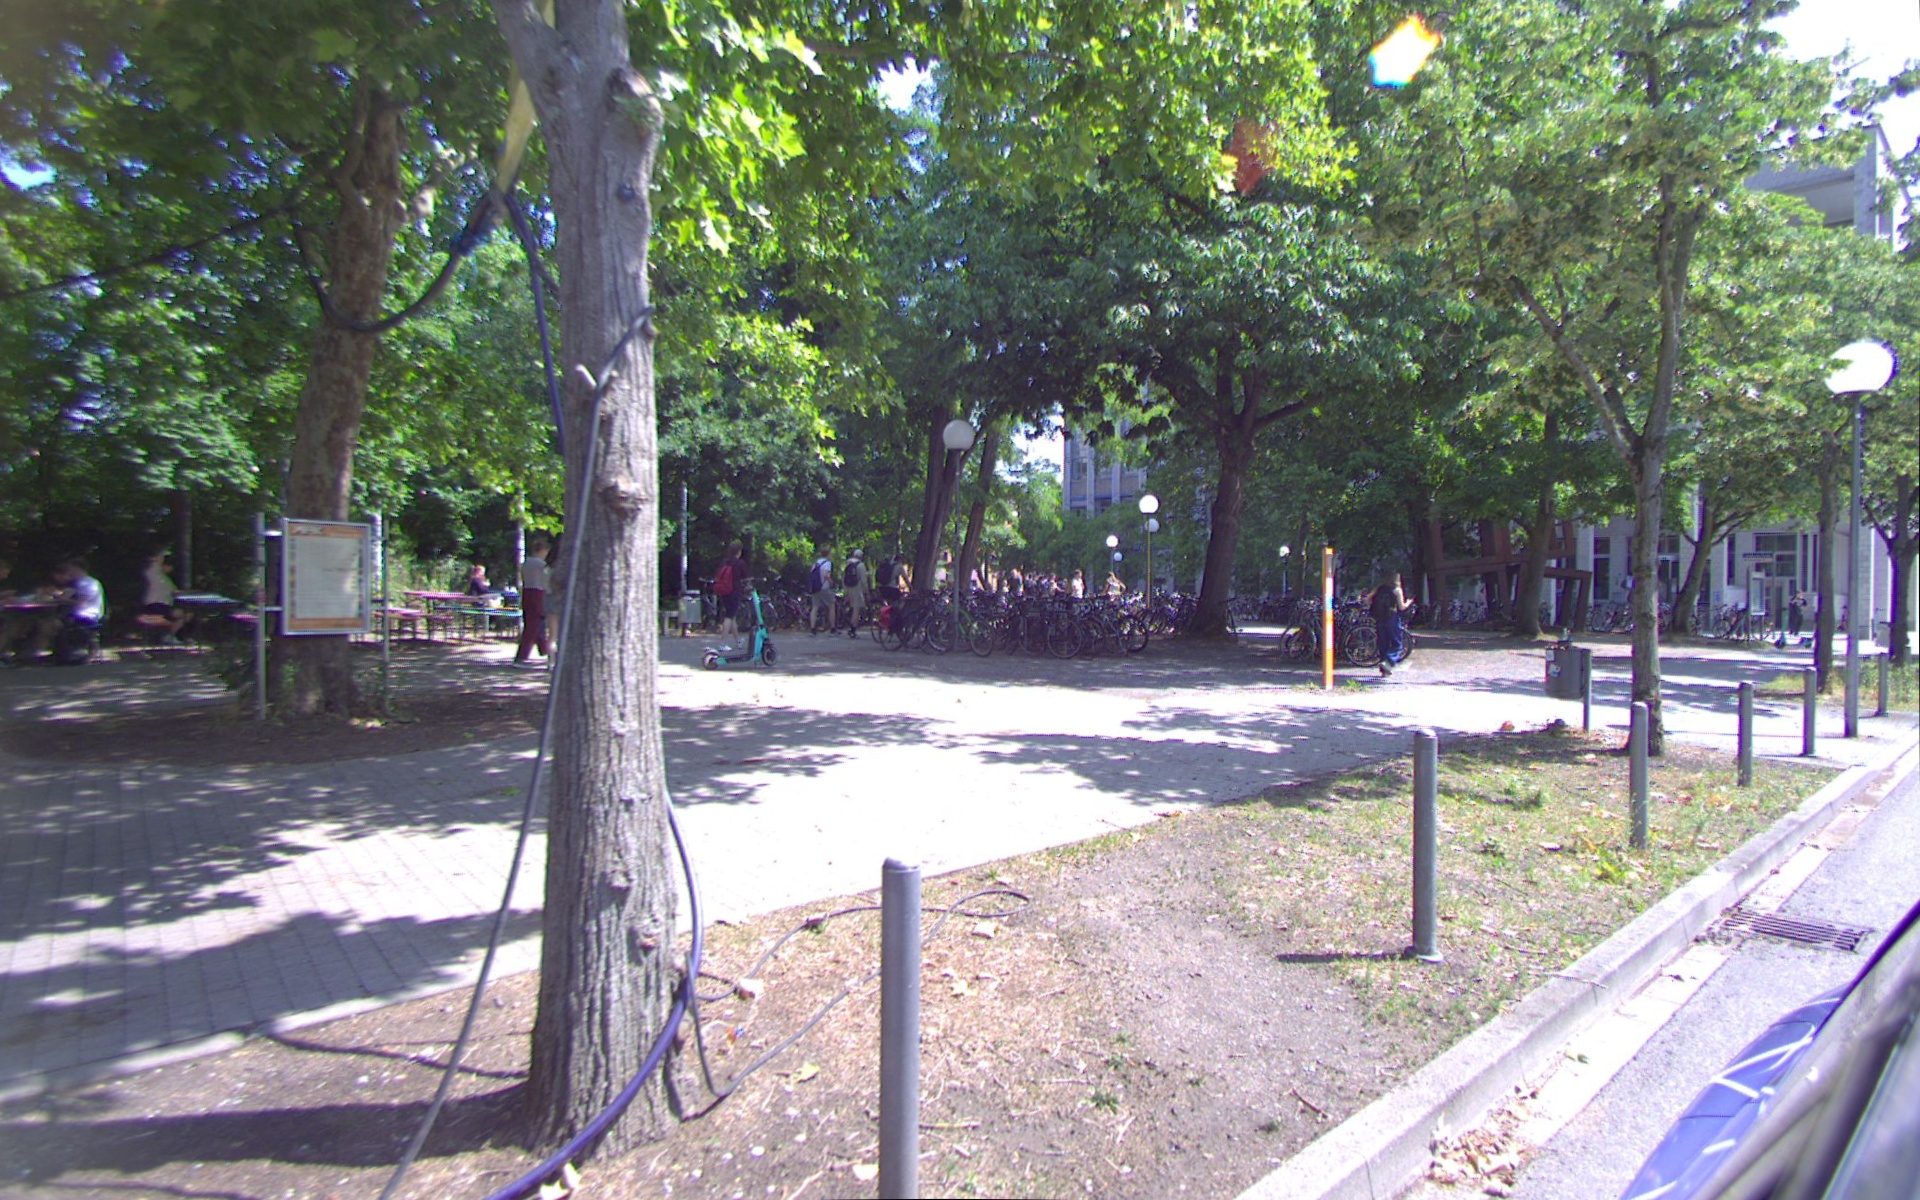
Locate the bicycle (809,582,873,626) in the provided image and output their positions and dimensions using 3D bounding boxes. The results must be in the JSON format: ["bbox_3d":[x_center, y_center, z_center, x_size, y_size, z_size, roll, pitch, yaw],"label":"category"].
[{"bbox_3d":[-3.053,0.091,25.890,1.737,1.052,0.344,2,1,28],"label":"bicycle"}]

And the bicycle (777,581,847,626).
[{"bbox_3d":[-3.710,0.077,25.289,1.815,1.052,0.474,2,1,28],"label":"bicycle"}]

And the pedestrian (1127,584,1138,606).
[{"bbox_3d":[9.637,-0.265,56.572,0.379,1.228,0.403,1,0,-33],"label":"pedestrian"}]

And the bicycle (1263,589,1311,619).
[{"bbox_3d":[13.394,0.158,41.505,1.812,1.185,0.345,1,0,5],"label":"bicycle"}]

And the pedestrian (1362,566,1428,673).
[{"bbox_3d":[6.684,0.280,15.545,0.911,1.591,0.569,-1,2,-41],"label":"pedestrian"}]

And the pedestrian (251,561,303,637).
[{"bbox_3d":[-12.126,-0.015,17.960,0.667,1.286,0.612,5,3,45],"label":"pedestrian"}]

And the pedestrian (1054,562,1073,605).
[{"bbox_3d":[4.363,-0.682,42.580,0.732,1.797,0.719,1,0,9],"label":"pedestrian"}]

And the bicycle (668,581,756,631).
[{"bbox_3d":[-5.287,0.111,21.533,1.944,0.991,0.606,2,2,30],"label":"bicycle"}]

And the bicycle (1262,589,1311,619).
[{"bbox_3d":[13.277,0.150,41.165,1.812,1.185,0.345,1,0,5],"label":"bicycle"}]

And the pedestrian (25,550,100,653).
[{"bbox_3d":[-12.418,0.020,14.005,0.570,1.363,0.717,5,3,44],"label":"pedestrian"}]

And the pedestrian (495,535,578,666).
[{"bbox_3d":[-5.665,-0.005,13.532,0.810,1.682,0.766,0,1,-41],"label":"pedestrian"}]

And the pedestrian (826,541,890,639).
[{"bbox_3d":[-2.127,-0.223,21.262,0.828,1.973,1.068,3,1,29],"label":"pedestrian"}]

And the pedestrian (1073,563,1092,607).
[{"bbox_3d":[5.149,-0.625,42.467,0.732,1.797,0.719,1,0,9],"label":"pedestrian"}]

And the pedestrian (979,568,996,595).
[{"bbox_3d":[1.703,-1.143,62.630,0.730,1.589,0.721,1,0,-33],"label":"pedestrian"}]

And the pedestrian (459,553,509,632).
[{"bbox_3d":[-9.919,-0.162,21.103,0.667,1.601,0.707,5,3,45],"label":"pedestrian"}]

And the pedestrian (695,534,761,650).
[{"bbox_3d":[-3.896,-0.141,16.996,0.810,1.878,0.766,0,1,-41],"label":"pedestrian"}]

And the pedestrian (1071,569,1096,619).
[{"bbox_3d":[4.504,-0.218,36.956,0.735,1.797,0.717,1,0,18],"label":"pedestrian"}]

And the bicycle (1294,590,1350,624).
[{"bbox_3d":[12.975,0.240,36.267,1.815,1.185,0.412,1,0,11],"label":"bicycle"}]

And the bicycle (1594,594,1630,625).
[{"bbox_3d":[23.965,0.351,37.192,1.664,1.099,0.482,2,1,-36],"label":"bicycle"}]

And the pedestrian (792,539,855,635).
[{"bbox_3d":[-2.919,-0.290,21.744,0.828,1.973,1.068,3,1,29],"label":"pedestrian"}]

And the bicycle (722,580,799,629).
[{"bbox_3d":[-4.645,0.092,23.503,1.944,1.052,0.473,2,2,31],"label":"bicycle"}]

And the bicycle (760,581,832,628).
[{"bbox_3d":[-3.969,0.100,24.450,1.768,1.052,0.474,2,1,28],"label":"bicycle"}]

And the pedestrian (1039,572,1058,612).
[{"bbox_3d":[4.057,-0.383,46.537,0.730,1.797,0.721,1,0,-3],"label":"pedestrian"}]

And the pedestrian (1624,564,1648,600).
[{"bbox_3d":[33.891,-0.897,50.747,0.793,1.819,0.621,0,0,-9],"label":"pedestrian"}]

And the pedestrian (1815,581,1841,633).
[{"bbox_3d":[32.531,0.262,37.916,0.675,1.914,0.685,-1,1,-44],"label":"pedestrian"}]

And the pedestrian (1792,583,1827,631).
[{"bbox_3d":[32.899,0.260,39.215,0.796,1.819,0.619,1,0,6],"label":"pedestrian"}]

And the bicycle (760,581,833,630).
[{"bbox_3d":[-3.796,0.110,23.448,1.768,1.052,0.430,2,1,28],"label":"bicycle"}]

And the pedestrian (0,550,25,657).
[{"bbox_3d":[-12.696,0.039,13.182,0.570,1.363,0.717,5,3,44],"label":"pedestrian"}]

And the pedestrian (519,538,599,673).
[{"bbox_3d":[-5.192,0.054,13.097,0.774,1.682,0.698,0,1,-41],"label":"pedestrian"}]

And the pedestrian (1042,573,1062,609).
[{"bbox_3d":[4.630,-0.466,51.073,0.729,1.797,0.722,1,0,-16],"label":"pedestrian"}]

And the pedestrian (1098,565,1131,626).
[{"bbox_3d":[4.655,-0.142,30.450,0.706,1.797,0.746,1,0,-14],"label":"pedestrian"}]

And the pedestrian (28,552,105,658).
[{"bbox_3d":[-12.007,0.061,13.597,0.570,1.363,0.717,5,3,44],"label":"pedestrian"}]

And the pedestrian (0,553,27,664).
[{"bbox_3d":[-12.130,0.096,12.600,0.570,1.363,0.717,5,3,44],"label":"pedestrian"}]

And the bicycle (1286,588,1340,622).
[{"bbox_3d":[12.890,0.171,36.974,1.815,1.185,0.412,1,0,11],"label":"bicycle"}]

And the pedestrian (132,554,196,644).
[{"bbox_3d":[-12.674,-0.026,16.115,0.667,1.363,0.707,5,3,45],"label":"pedestrian"}]

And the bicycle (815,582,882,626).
[{"bbox_3d":[-2.891,0.087,26.208,1.737,1.052,0.474,2,1,28],"label":"bicycle"}]

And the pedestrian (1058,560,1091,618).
[{"bbox_3d":[3.609,-0.355,31.966,0.742,1.797,0.710,1,0,41],"label":"pedestrian"}]

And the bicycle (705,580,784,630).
[{"bbox_3d":[-4.874,0.093,22.802,1.944,1.052,0.430,2,2,31],"label":"bicycle"}]

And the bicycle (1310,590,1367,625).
[{"bbox_3d":[13.134,0.259,35.141,1.817,1.185,0.387,1,0,13],"label":"bicycle"}]

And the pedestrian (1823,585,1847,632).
[{"bbox_3d":[33.428,0.317,38.675,0.533,1.751,0.613,0,1,-40],"label":"pedestrian"}]

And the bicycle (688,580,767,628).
[{"bbox_3d":[-5.178,0.077,22.479,1.944,0.991,0.434,2,2,31],"label":"bicycle"}]

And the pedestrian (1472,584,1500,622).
[{"bbox_3d":[24.262,0.134,46.685,0.918,1.762,0.751,0,0,-18],"label":"pedestrian"}]

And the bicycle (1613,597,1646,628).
[{"bbox_3d":[24.490,0.463,37.004,1.486,1.099,0.482,2,1,-36],"label":"bicycle"}]

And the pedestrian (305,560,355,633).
[{"bbox_3d":[-11.611,-0.068,18.650,0.667,1.286,0.612,5,3,45],"label":"pedestrian"}]

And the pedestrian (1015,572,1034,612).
[{"bbox_3d":[2.964,-0.363,46.306,0.730,1.797,0.721,1,0,-3],"label":"pedestrian"}]

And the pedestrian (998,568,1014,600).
[{"bbox_3d":[2.265,-0.810,50.151,0.679,1.530,0.514,3,2,6],"label":"pedestrian"}]

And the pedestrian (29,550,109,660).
[{"bbox_3d":[-11.601,0.062,13.181,0.570,1.363,0.717,5,3,44],"label":"pedestrian"}]

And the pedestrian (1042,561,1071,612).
[{"bbox_3d":[3.477,-0.480,36.414,0.742,1.797,0.710,1,0,41],"label":"pedestrian"}]
